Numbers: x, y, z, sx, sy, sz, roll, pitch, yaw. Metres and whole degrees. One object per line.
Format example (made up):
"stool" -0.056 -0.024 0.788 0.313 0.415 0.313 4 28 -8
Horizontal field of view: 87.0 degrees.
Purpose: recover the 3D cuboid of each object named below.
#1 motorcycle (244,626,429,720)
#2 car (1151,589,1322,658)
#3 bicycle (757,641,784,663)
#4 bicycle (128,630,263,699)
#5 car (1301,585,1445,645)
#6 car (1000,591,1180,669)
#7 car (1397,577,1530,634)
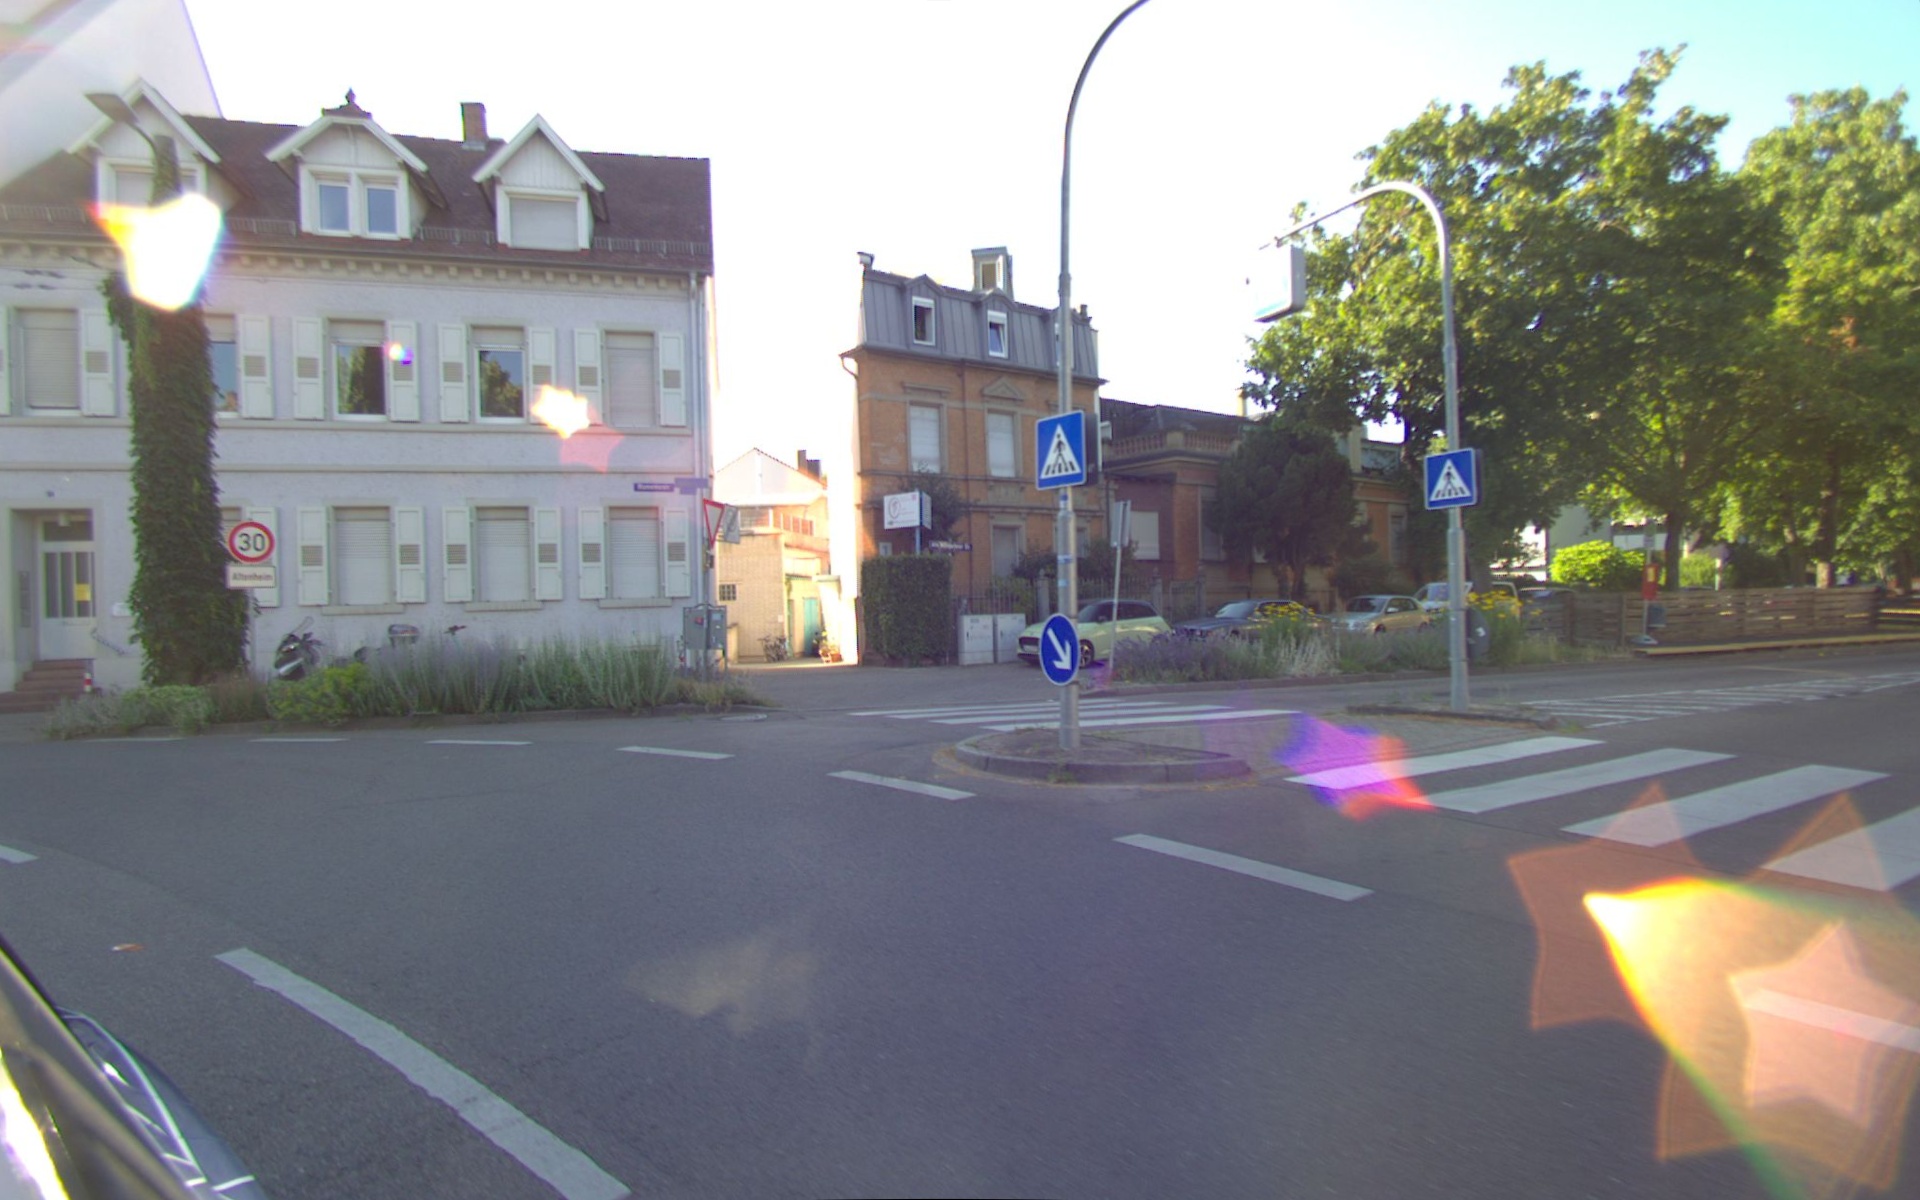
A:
"motorcycle" -10.381 1.182 16.993 2.520 1.367 0.937 -2 1 -25
"car" 7.072 0.551 25.769 4.068 1.548 1.947 -2 1 -32
"bicycle" -7.975 2.181 42.682 0.851 0.759 2.298 -2 0 -3
"bicycle" -13.750 1.147 18.256 1.838 1.118 0.580 -2 1 -22
"car" 12.015 0.395 29.389 4.070 1.548 1.946 -2 1 -35
"car" 2.995 0.625 23.012 3.846 1.548 1.818 -2 1 -36
"car" 16.326 0.137 32.750 4.435 1.675 1.946 -2 1 -35
